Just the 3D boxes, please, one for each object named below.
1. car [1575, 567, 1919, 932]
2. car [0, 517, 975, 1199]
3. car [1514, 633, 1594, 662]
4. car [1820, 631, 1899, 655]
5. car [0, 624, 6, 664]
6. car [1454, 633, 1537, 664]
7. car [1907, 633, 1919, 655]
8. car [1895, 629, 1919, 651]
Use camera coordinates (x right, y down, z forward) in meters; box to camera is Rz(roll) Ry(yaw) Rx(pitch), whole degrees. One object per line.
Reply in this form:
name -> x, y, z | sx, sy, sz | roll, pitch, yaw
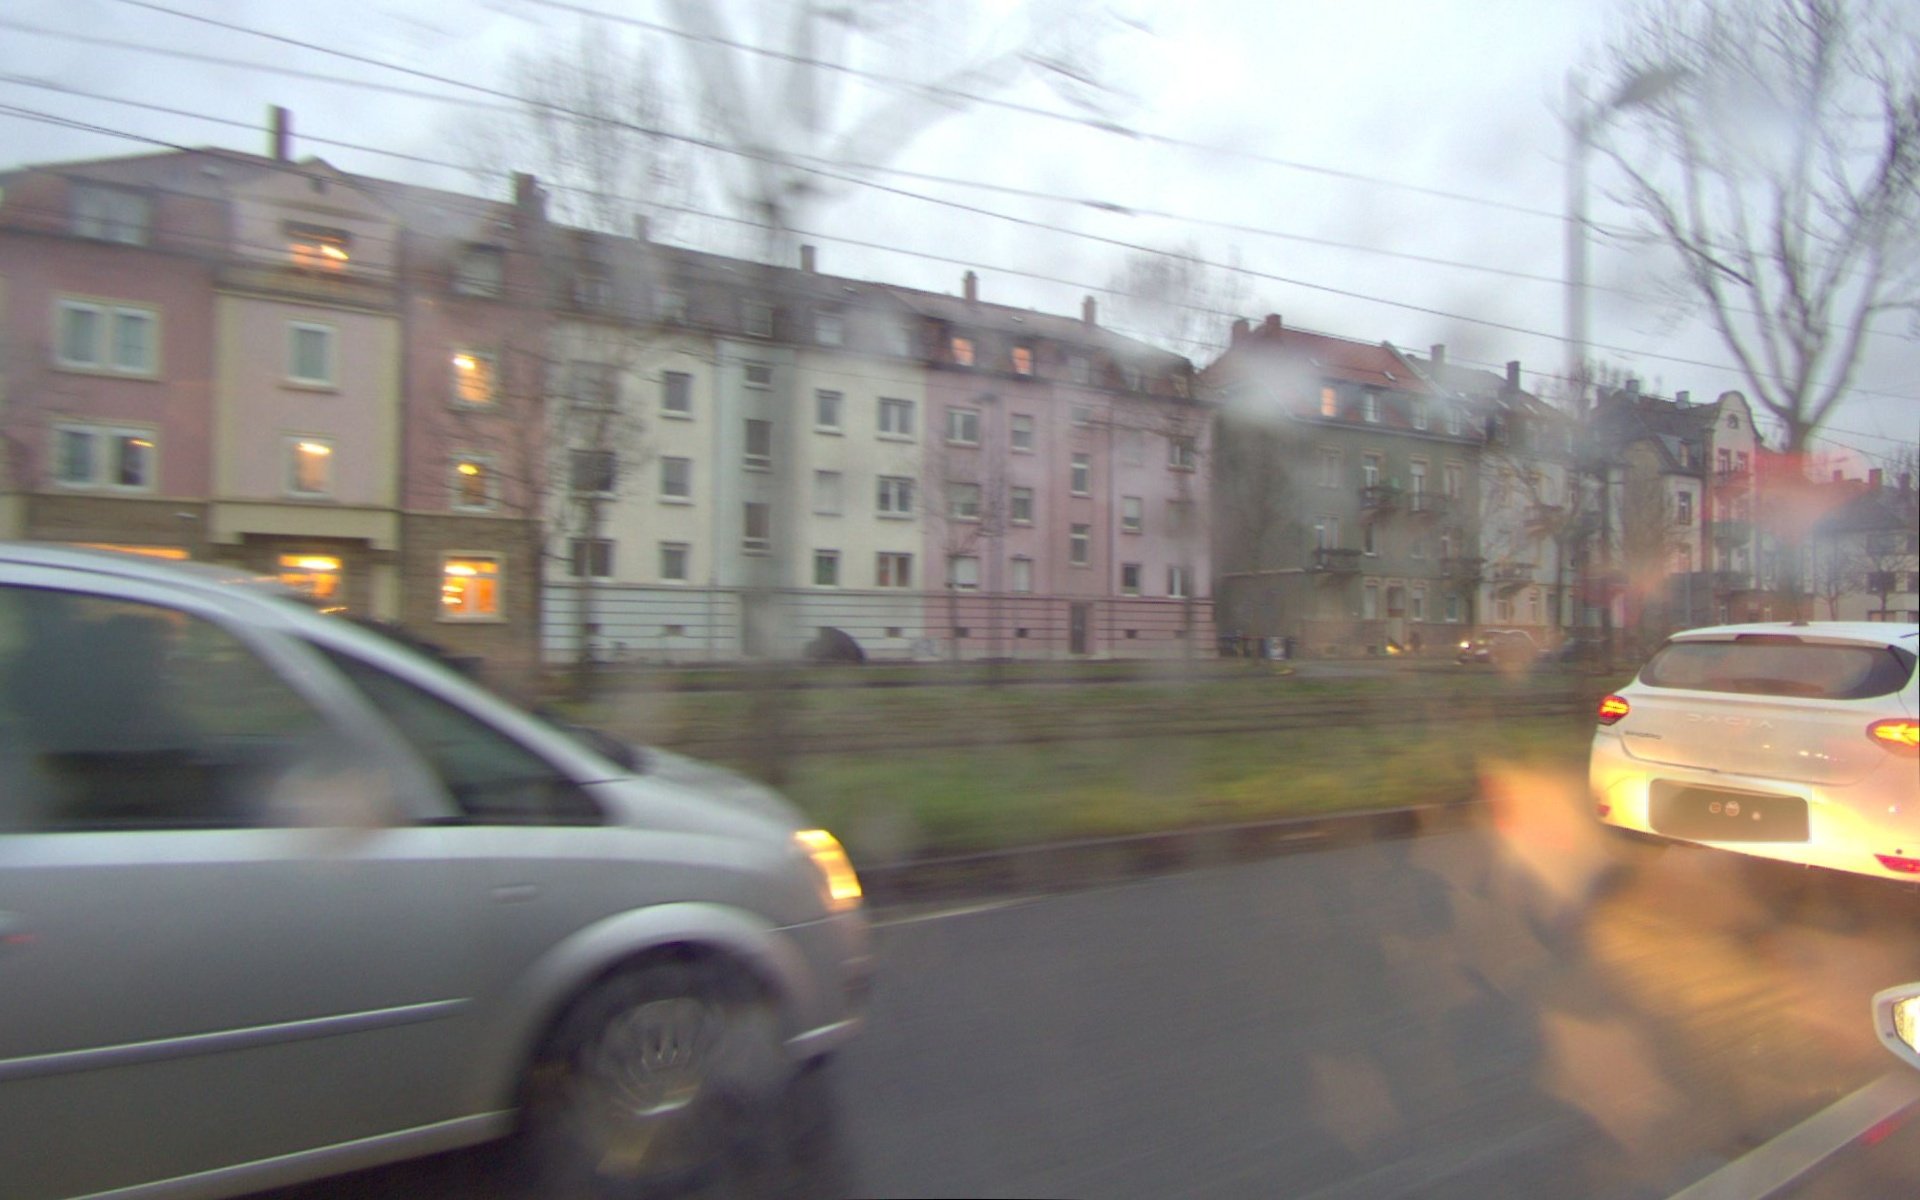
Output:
car -> 5.699, 0.711, 6.044 | 4.004, 1.621, 1.665 | 1, -1, -29
car -> -2.139, 0.664, 2.650 | 4.005, 1.621, 1.801 | 1, -1, -30
car -> 28.786, 2.275, 48.705 | 3.512, 1.372, 1.769 | 1, -2, -28
car -> 53.231, 2.526, 59.554 | 1.745, 1.372, 3.559 | 0, -2, 7
car -> -35.136, 1.568, 34.942 | 1.978, 1.439, 3.966 | 1, -1, -31
car -> 24.866, 2.246, 46.643 | 3.512, 1.372, 1.769 | 1, -2, -28
car -> 62.793, 2.805, 64.001 | 1.745, 1.372, 3.559 | 0, -2, 7
car -> 60.430, 2.458, 62.350 | 1.745, 1.372, 3.559 | 0, -2, 7
